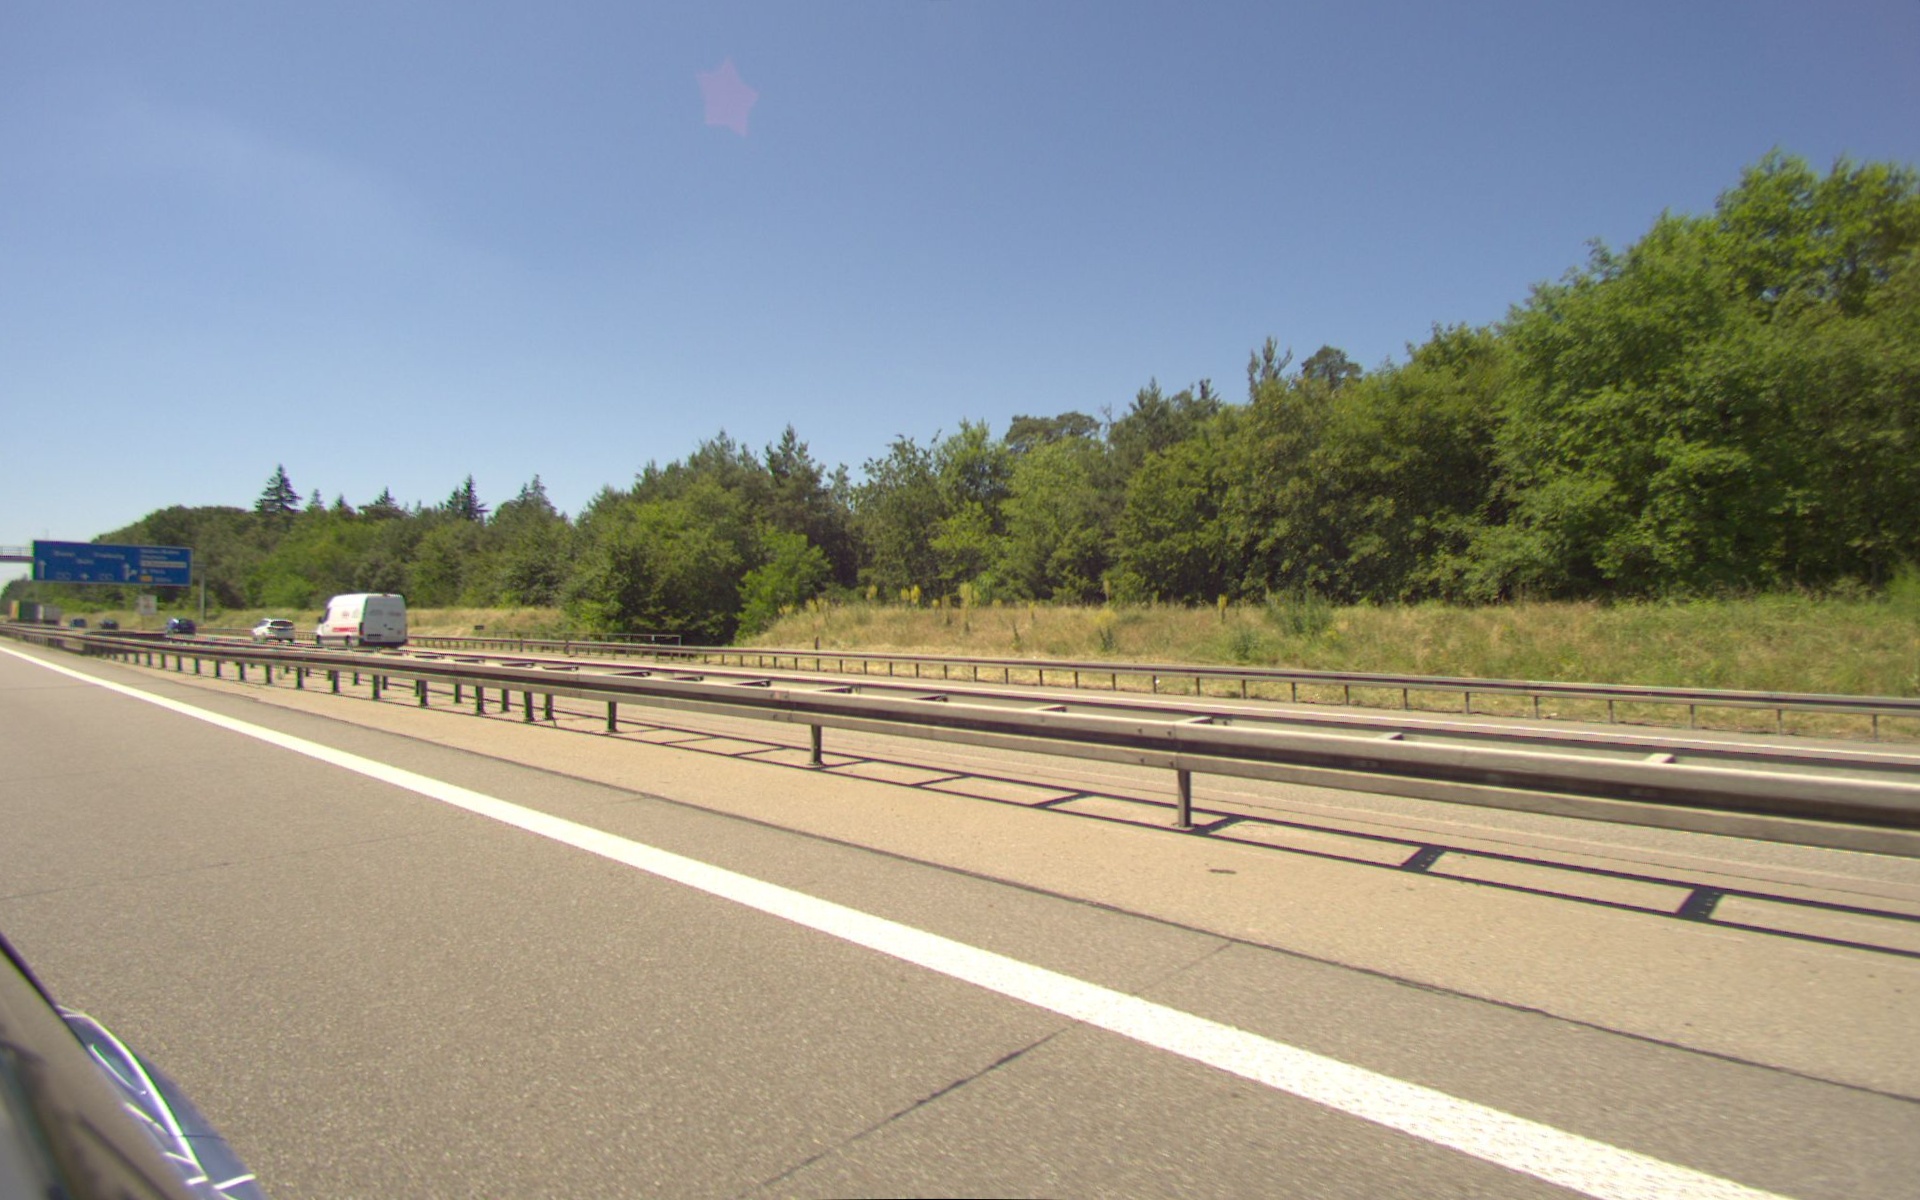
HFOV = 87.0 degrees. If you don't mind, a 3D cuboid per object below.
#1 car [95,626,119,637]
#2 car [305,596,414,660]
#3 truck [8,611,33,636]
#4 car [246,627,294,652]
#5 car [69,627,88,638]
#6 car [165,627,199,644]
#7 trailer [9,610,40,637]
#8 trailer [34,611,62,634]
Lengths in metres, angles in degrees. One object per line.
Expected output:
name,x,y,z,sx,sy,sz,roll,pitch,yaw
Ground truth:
car,-108.719,3.999,128.959,4.890,1.376,1.657,-1,-5,43
car,-27.531,1.296,46.229,7.544,2.645,2.141,-1,-5,43
truck,-157.291,3.958,169.383,6.287,4.104,2.437,-1,-5,43
car,-49.230,2.788,72.182,5.116,1.674,1.683,-1,-5,43
car,-128.875,4.692,147.948,4.110,1.552,1.507,-1,-5,43
car,-72.263,3.287,93.979,4.535,1.557,1.683,-1,-5,43
trailer,-152.401,3.890,164.788,14.279,4.104,2.437,-1,-5,43
trailer,-163.076,4.026,180.960,11.158,3.979,2.596,-1,-5,43
